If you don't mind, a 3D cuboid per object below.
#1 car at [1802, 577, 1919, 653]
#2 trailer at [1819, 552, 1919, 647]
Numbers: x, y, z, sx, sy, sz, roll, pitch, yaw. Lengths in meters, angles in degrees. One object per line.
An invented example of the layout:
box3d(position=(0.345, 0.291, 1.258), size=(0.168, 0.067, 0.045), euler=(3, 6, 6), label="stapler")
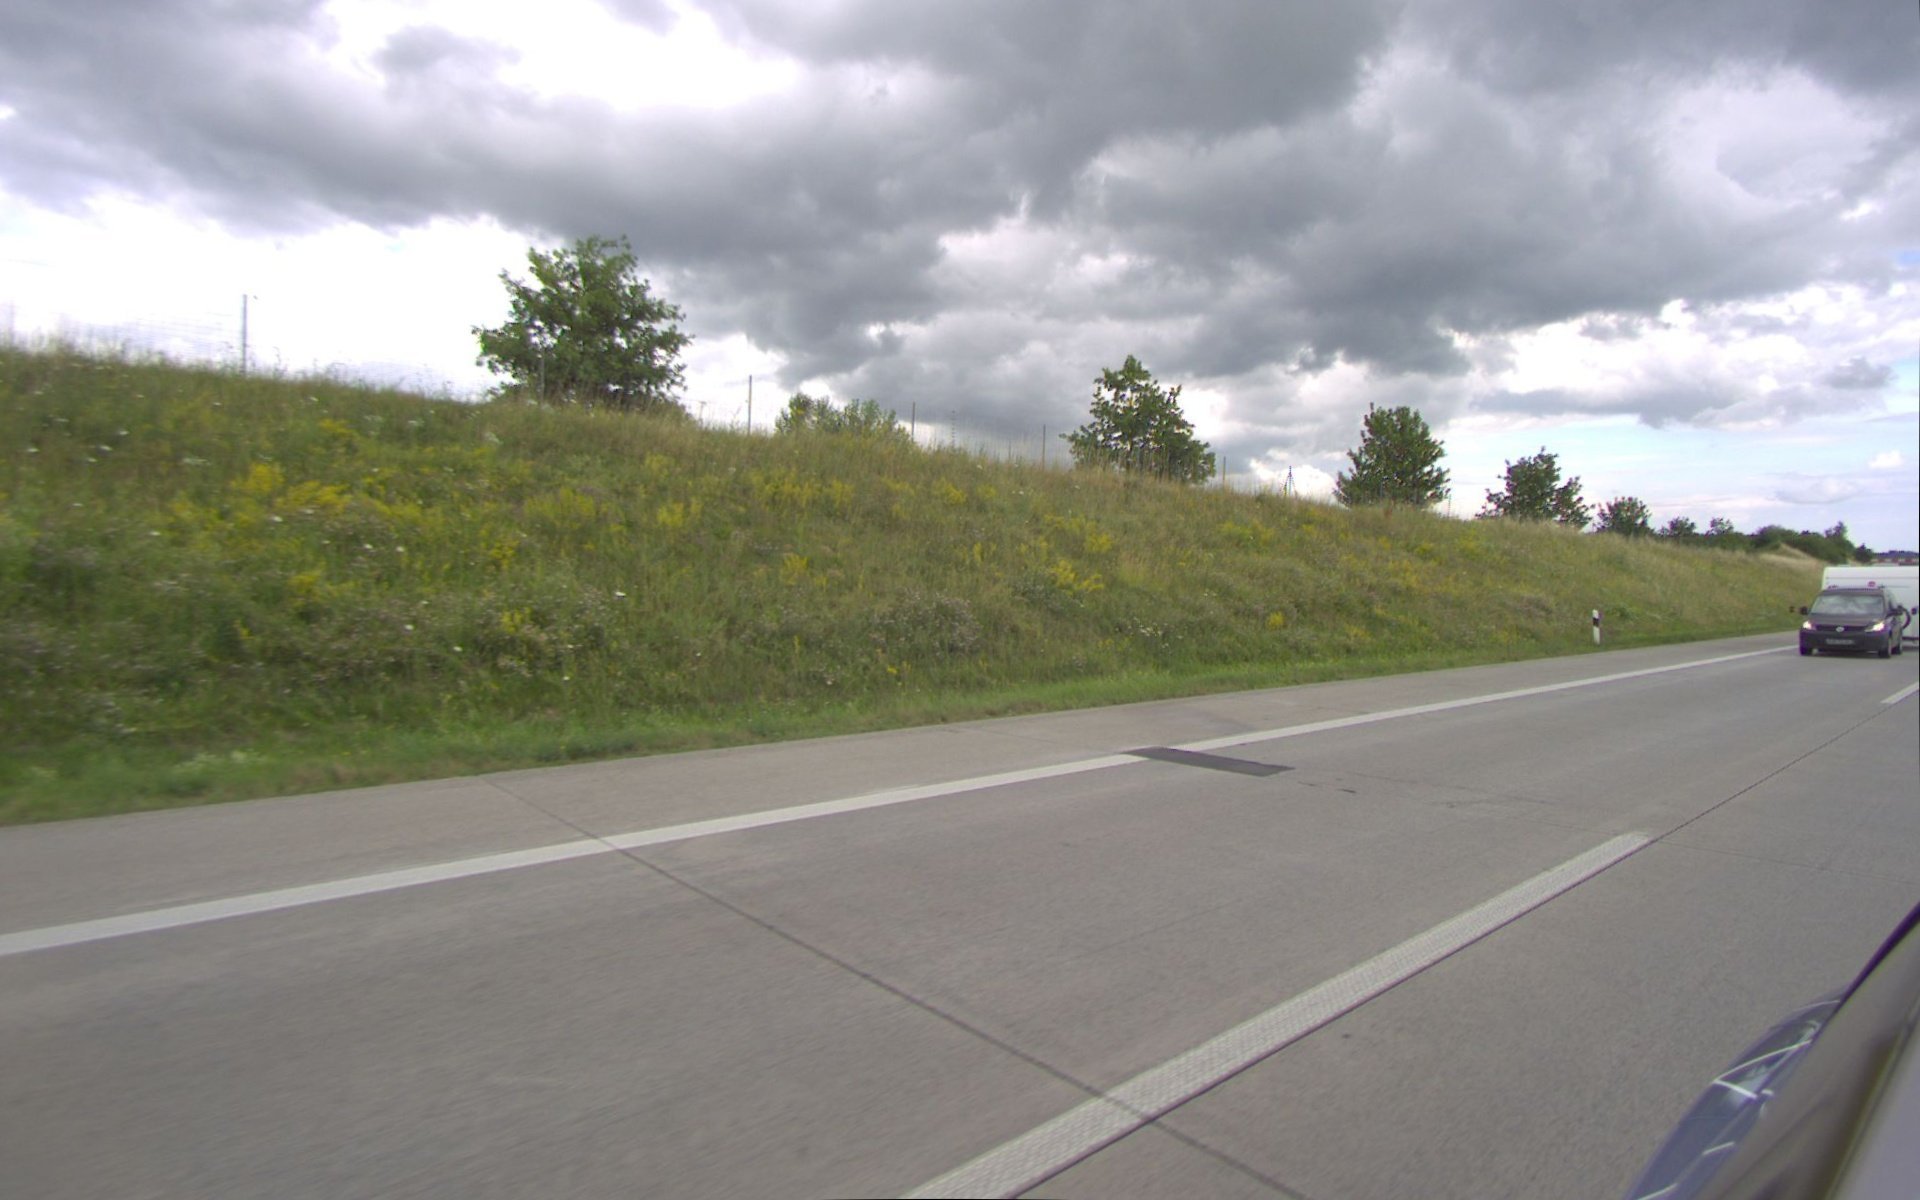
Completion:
box3d(position=(23.766, 0.308, 26.510), size=(4.946, 1.832, 1.942), euler=(-1, 1, -42), label="car")
box3d(position=(28.055, -0.077, 30.383), size=(6.606, 2.566, 2.612), euler=(-1, 1, -42), label="trailer")
